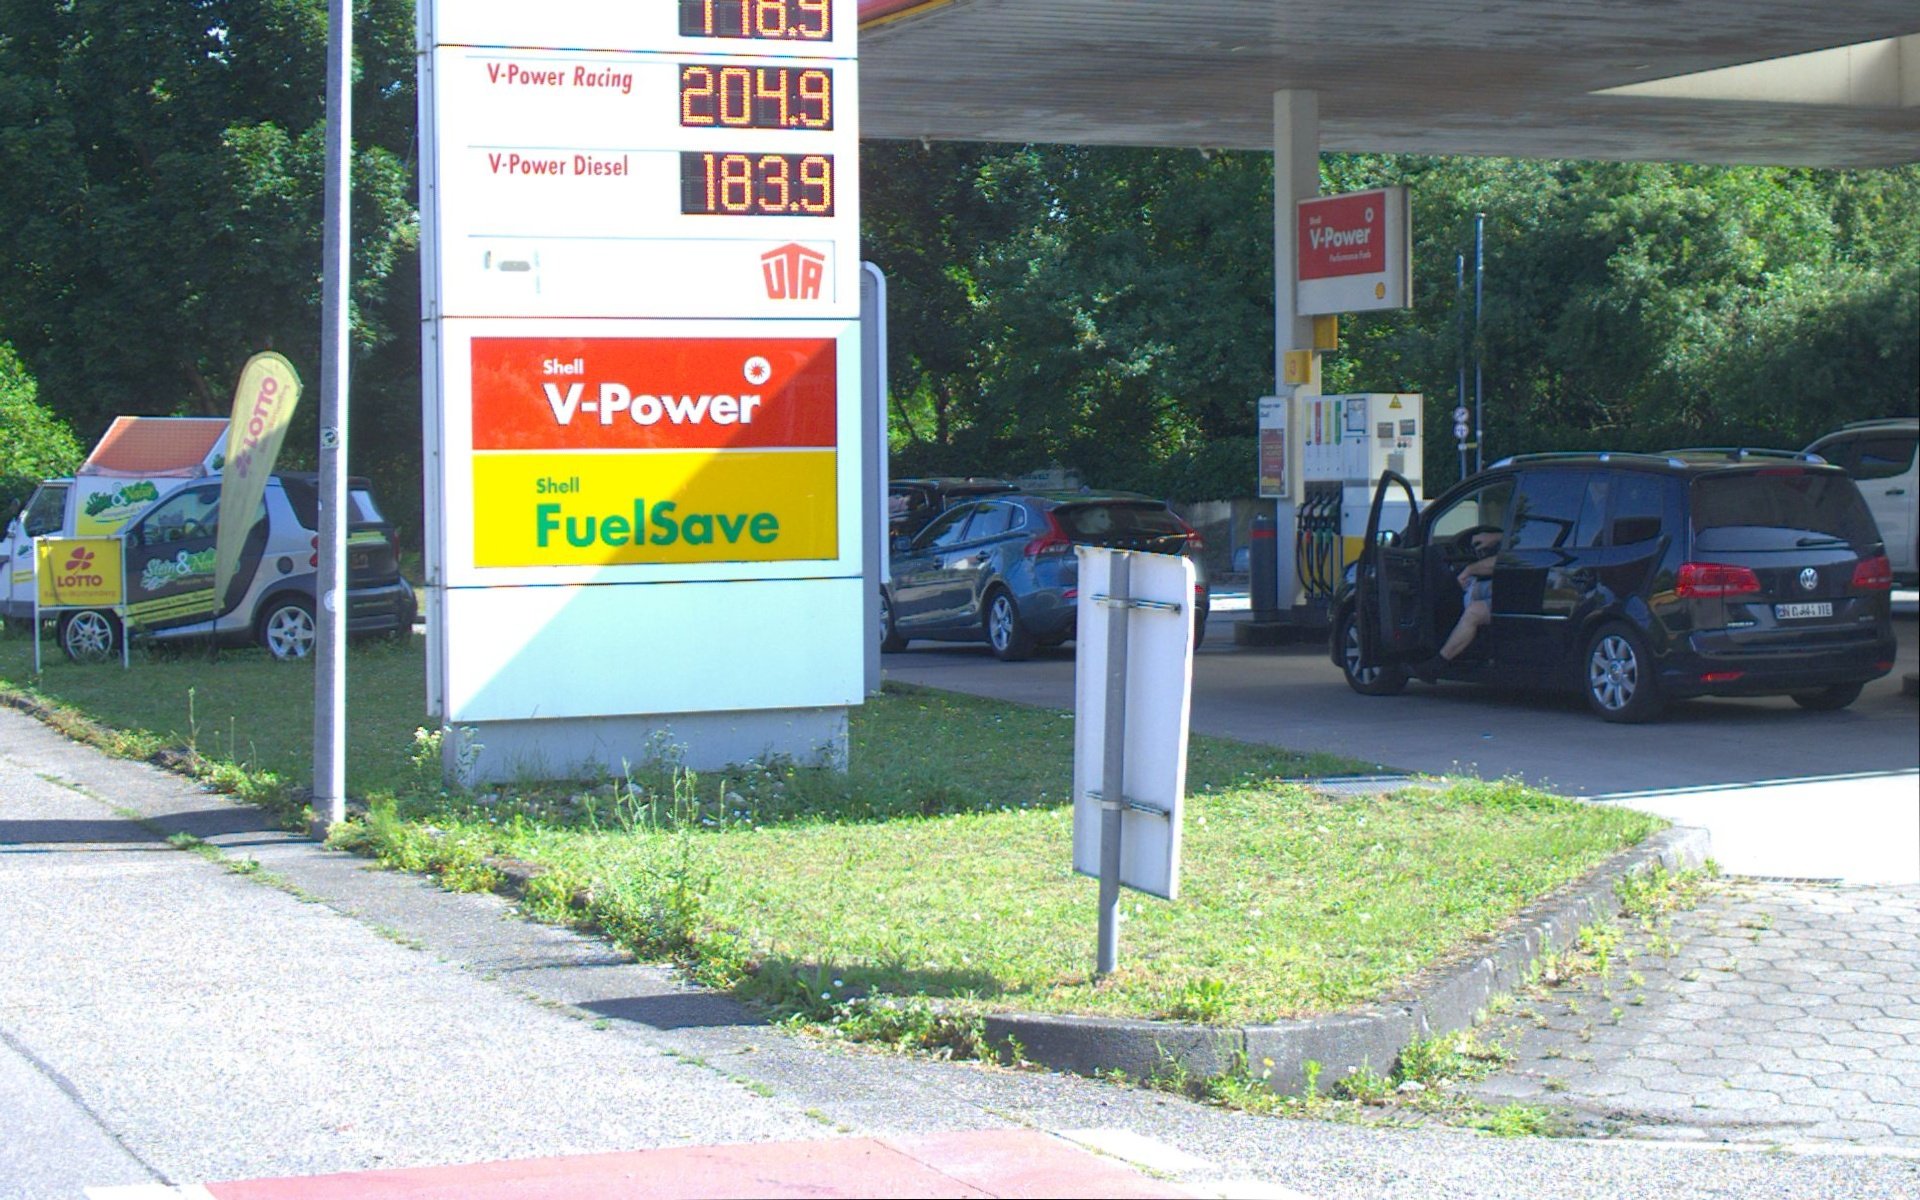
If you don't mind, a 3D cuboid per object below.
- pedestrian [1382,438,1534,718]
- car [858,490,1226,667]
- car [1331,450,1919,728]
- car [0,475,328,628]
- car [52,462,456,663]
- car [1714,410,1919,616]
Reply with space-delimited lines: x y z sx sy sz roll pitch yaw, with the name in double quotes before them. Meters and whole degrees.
"pedestrian" 3.139 -0.154 21.721 0.672 1.723 0.812 -1 2 -16
"car" 0.620 -0.237 29.213 1.797 1.356 3.849 -1 2 -21
"car" 4.120 -0.140 21.744 1.759 1.573 3.879 -2 2 -25
"car" -8.750 -0.498 35.663 3.987 1.525 1.586 0 1 -31
"car" -5.586 -0.298 27.274 2.725 1.525 1.576 0 0 21
"car" 9.137 -0.813 31.429 1.851 1.831 4.782 -2 2 -25
